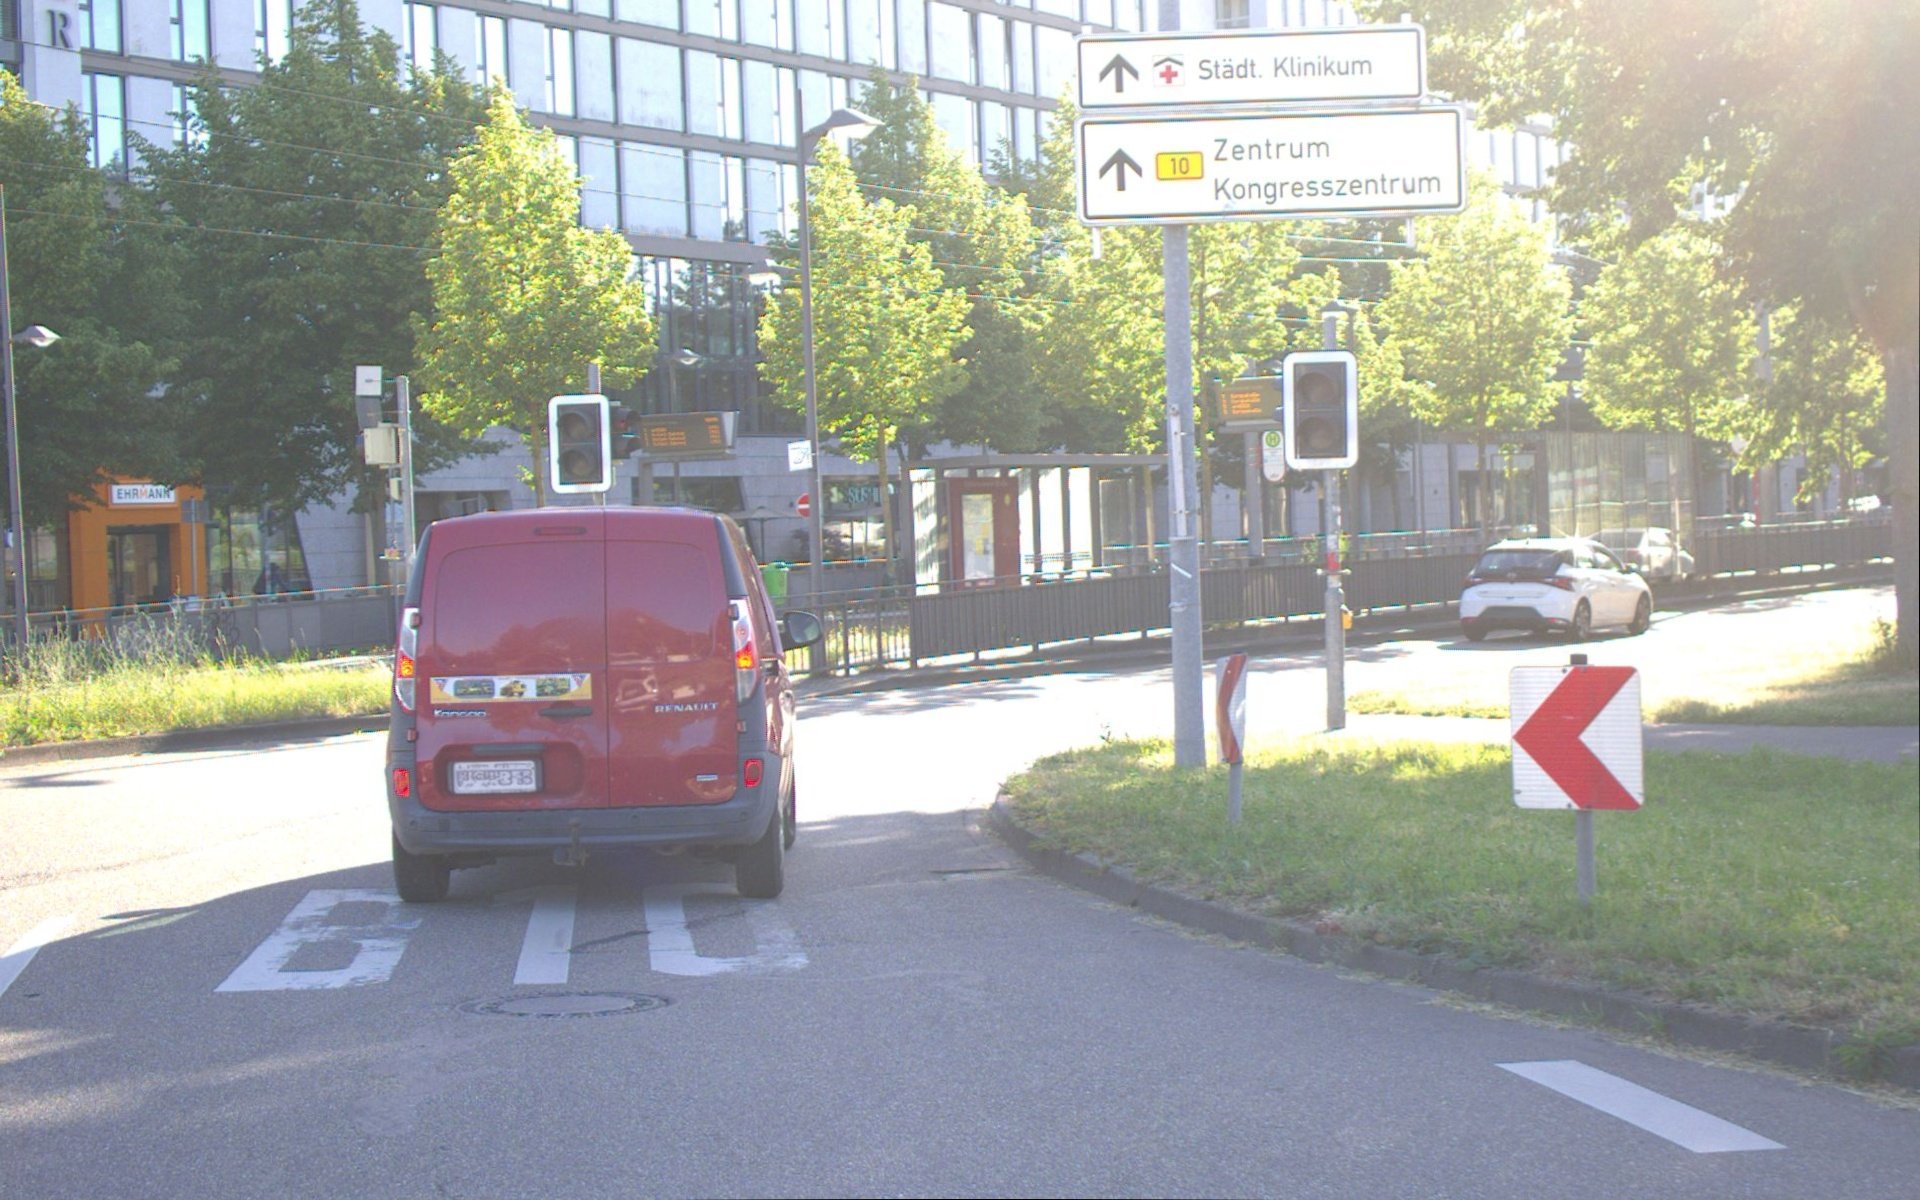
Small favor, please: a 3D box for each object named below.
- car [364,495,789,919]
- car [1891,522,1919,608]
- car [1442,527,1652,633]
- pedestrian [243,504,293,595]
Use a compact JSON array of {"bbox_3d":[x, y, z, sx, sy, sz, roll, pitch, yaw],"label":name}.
[{"bbox_3d":[-1.749,0.419,16.714,1.802,1.807,3.810,-1,1,-3],"label":"car"},{"bbox_3d":[19.610,-0.754,66.395,1.997,1.569,4.401,-1,2,31],"label":"car"},{"bbox_3d":[8.600,-0.323,50.172,1.806,1.456,3.803,1,2,30],"label":"car"},{"bbox_3d":[-15.579,-1.137,77.384,0.639,2.006,0.832,0,2,32],"label":"pedestrian"}]
